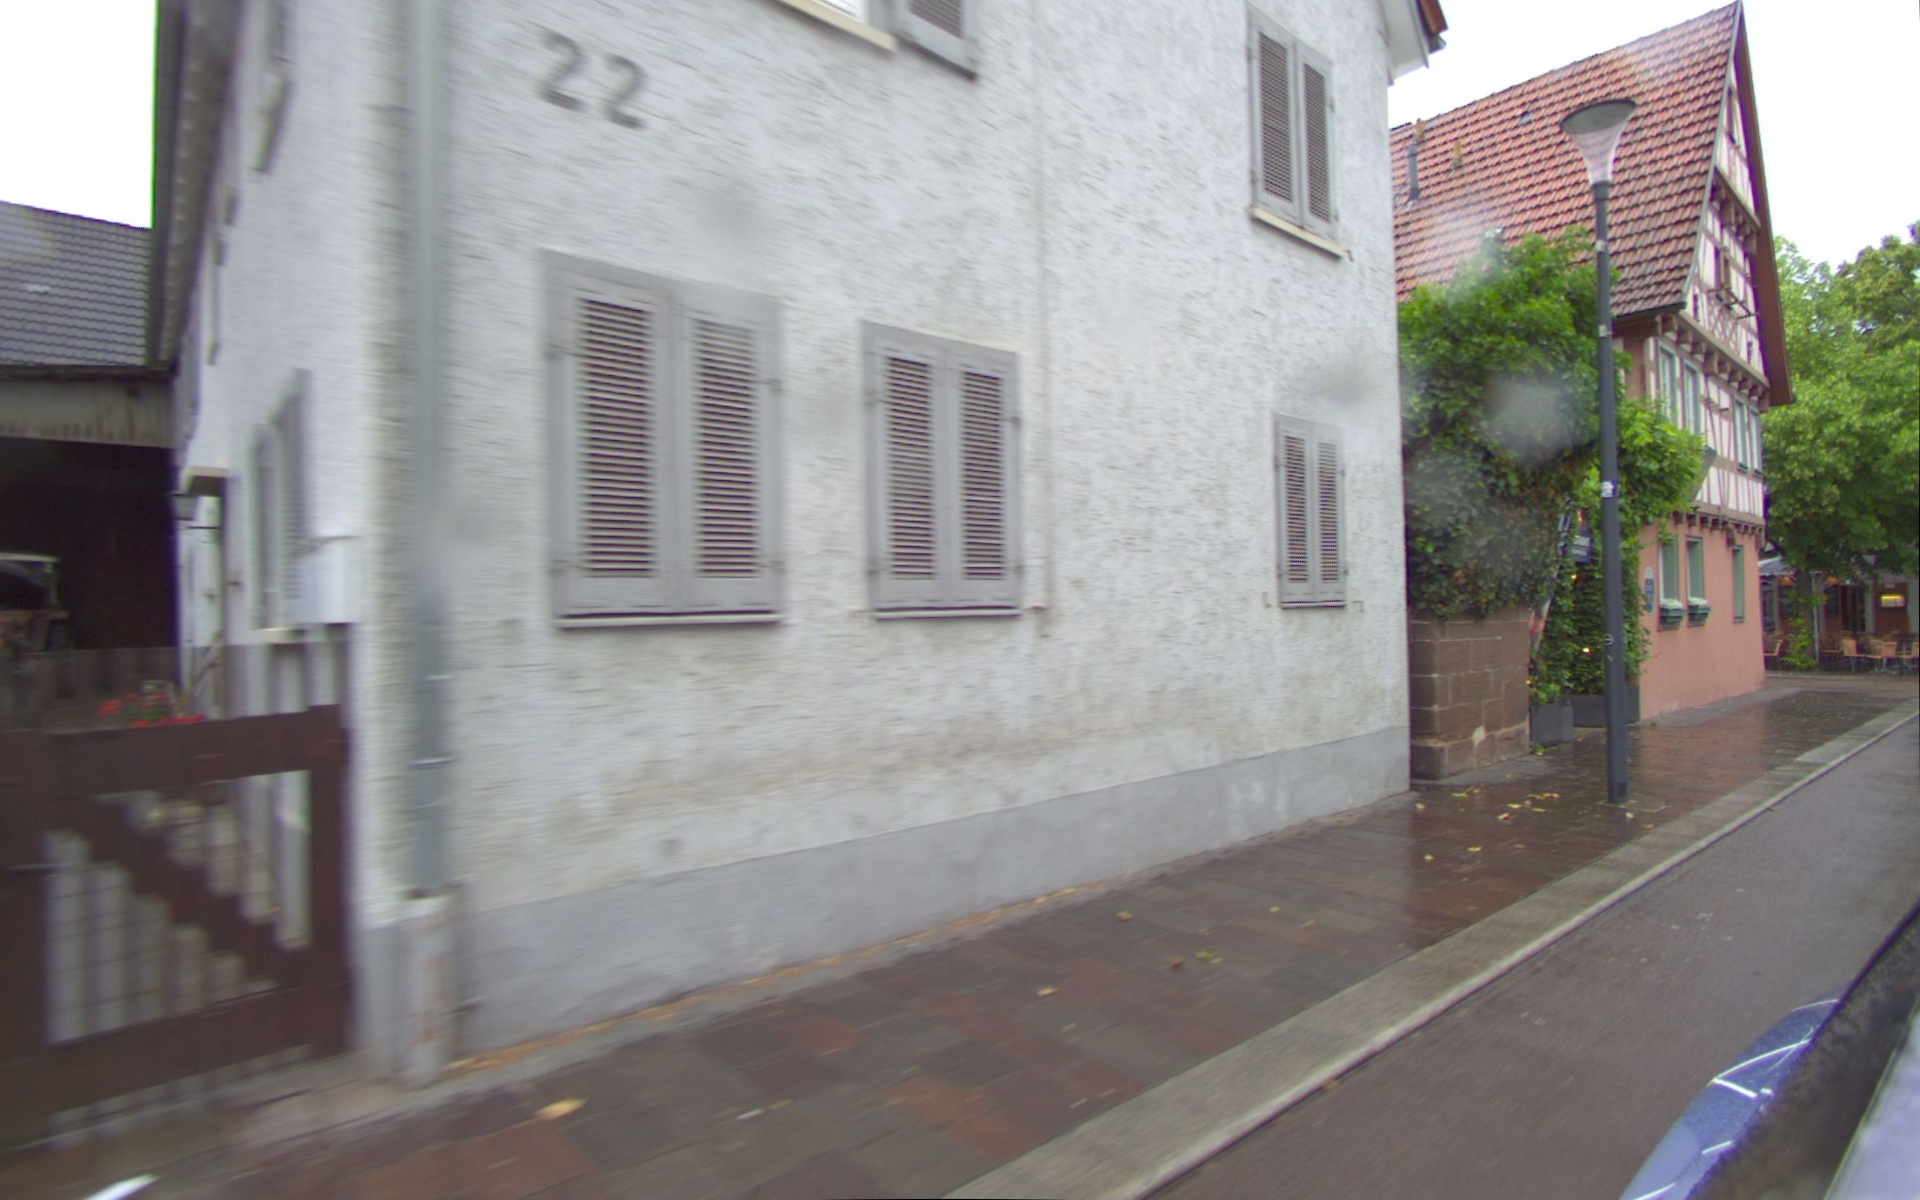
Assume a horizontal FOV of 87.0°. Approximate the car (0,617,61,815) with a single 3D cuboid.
[{"bbox_3d":[-8.516,0.881,8.074,1.636,1.441,3.416,-1,0,-36],"label":"car"}]
